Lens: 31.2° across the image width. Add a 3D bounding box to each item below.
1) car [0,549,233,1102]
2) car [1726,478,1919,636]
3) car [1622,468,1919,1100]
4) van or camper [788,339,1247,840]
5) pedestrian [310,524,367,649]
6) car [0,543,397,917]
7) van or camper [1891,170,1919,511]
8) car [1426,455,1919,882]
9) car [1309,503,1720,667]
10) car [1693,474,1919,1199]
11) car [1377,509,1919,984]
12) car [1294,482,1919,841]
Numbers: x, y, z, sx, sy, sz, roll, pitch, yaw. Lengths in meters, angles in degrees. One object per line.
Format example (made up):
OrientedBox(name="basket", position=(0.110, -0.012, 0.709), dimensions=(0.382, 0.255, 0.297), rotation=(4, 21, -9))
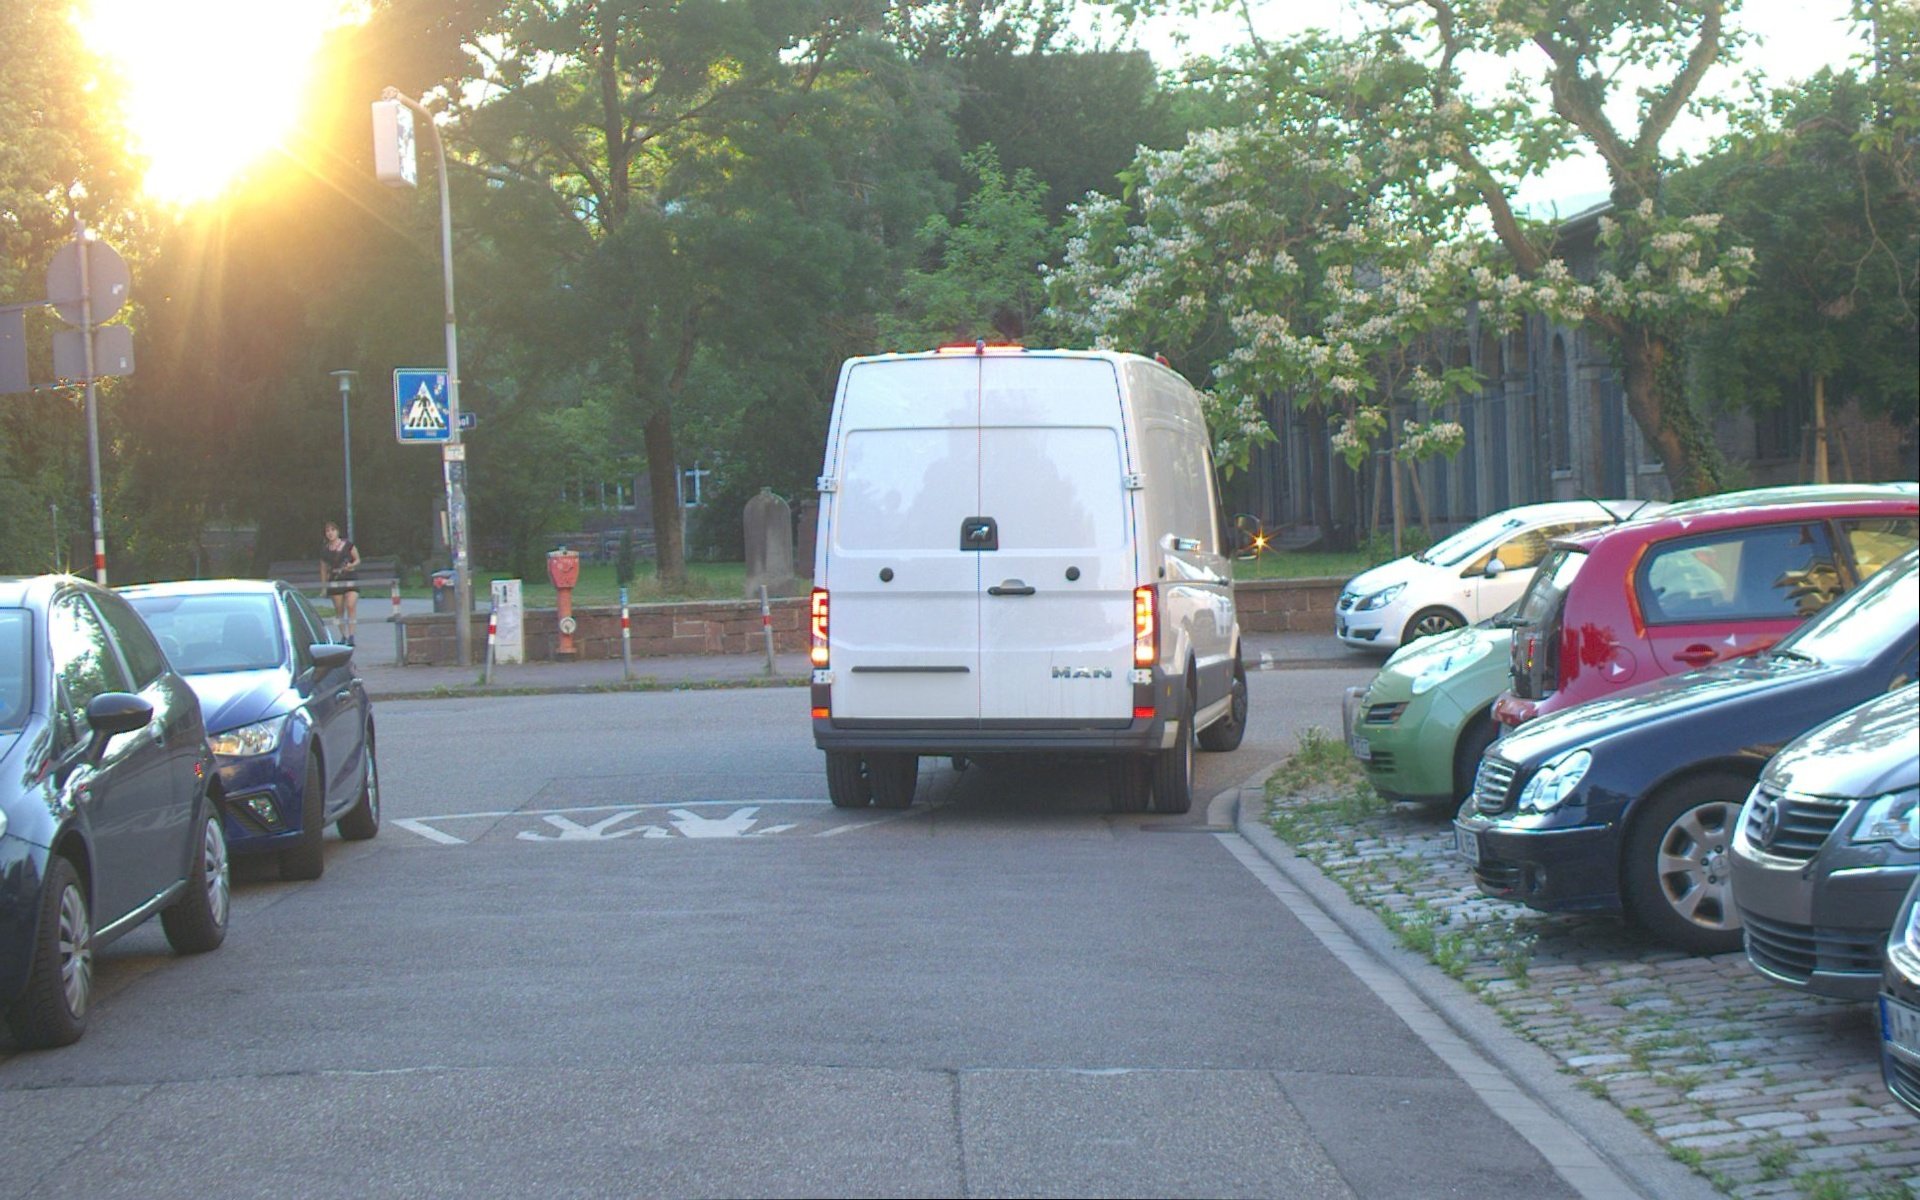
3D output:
OrientedBox(name="car", position=(-3.642, 0.660, 11.611), dimensions=(1.733, 1.562, 3.698), rotation=(-3, 1, -4))
OrientedBox(name="car", position=(10.215, -0.514, 35.311), dimensions=(4.293, 1.498, 1.823), rotation=(-3, 1, 4))
OrientedBox(name="car", position=(4.421, 0.347, 10.173), dimensions=(4.403, 1.656, 1.846), rotation=(-4, -1, -3))
OrientedBox(name="van or camper", position=(0.559, -0.127, 21.368), dimensions=(1.994, 2.609, 6.401), rotation=(1, 1, 8))
OrientedBox(name="pedestrian", position=(-8.231, -0.181, 45.544), dimensions=(0.646, 1.643, 0.674), rotation=(0, 1, -1))
OrientedBox(name="car", position=(-3.880, 0.547, 16.990), dimensions=(1.733, 1.562, 3.791), rotation=(-3, 1, -4))
OrientedBox(name="van or camper", position=(4.224, 0.158, 4.739), dimensions=(5.132, 2.160, 2.040), rotation=(-5, 0, -3))
OrientedBox(name="car", position=(4.473, 0.151, 15.434), dimensions=(4.404, 1.625, 1.846), rotation=(-6, 1, 1))
OrientedBox(name="car", position=(5.699, -0.176, 35.661), dimensions=(3.854, 1.568, 1.958), rotation=(-1, 1, -3))
OrientedBox(name="car", position=(4.038, 0.426, 7.526), dimensions=(4.325, 1.656, 1.782), rotation=(-4, -1, -3))
OrientedBox(name="car", position=(3.920, 0.431, 12.667), dimensions=(4.403, 1.526, 1.846), rotation=(-3, -1, -3))
OrientedBox(name="car", position=(4.105, 0.274, 17.921), dimensions=(4.403, 1.626, 1.846), rotation=(-3, -1, -3))
